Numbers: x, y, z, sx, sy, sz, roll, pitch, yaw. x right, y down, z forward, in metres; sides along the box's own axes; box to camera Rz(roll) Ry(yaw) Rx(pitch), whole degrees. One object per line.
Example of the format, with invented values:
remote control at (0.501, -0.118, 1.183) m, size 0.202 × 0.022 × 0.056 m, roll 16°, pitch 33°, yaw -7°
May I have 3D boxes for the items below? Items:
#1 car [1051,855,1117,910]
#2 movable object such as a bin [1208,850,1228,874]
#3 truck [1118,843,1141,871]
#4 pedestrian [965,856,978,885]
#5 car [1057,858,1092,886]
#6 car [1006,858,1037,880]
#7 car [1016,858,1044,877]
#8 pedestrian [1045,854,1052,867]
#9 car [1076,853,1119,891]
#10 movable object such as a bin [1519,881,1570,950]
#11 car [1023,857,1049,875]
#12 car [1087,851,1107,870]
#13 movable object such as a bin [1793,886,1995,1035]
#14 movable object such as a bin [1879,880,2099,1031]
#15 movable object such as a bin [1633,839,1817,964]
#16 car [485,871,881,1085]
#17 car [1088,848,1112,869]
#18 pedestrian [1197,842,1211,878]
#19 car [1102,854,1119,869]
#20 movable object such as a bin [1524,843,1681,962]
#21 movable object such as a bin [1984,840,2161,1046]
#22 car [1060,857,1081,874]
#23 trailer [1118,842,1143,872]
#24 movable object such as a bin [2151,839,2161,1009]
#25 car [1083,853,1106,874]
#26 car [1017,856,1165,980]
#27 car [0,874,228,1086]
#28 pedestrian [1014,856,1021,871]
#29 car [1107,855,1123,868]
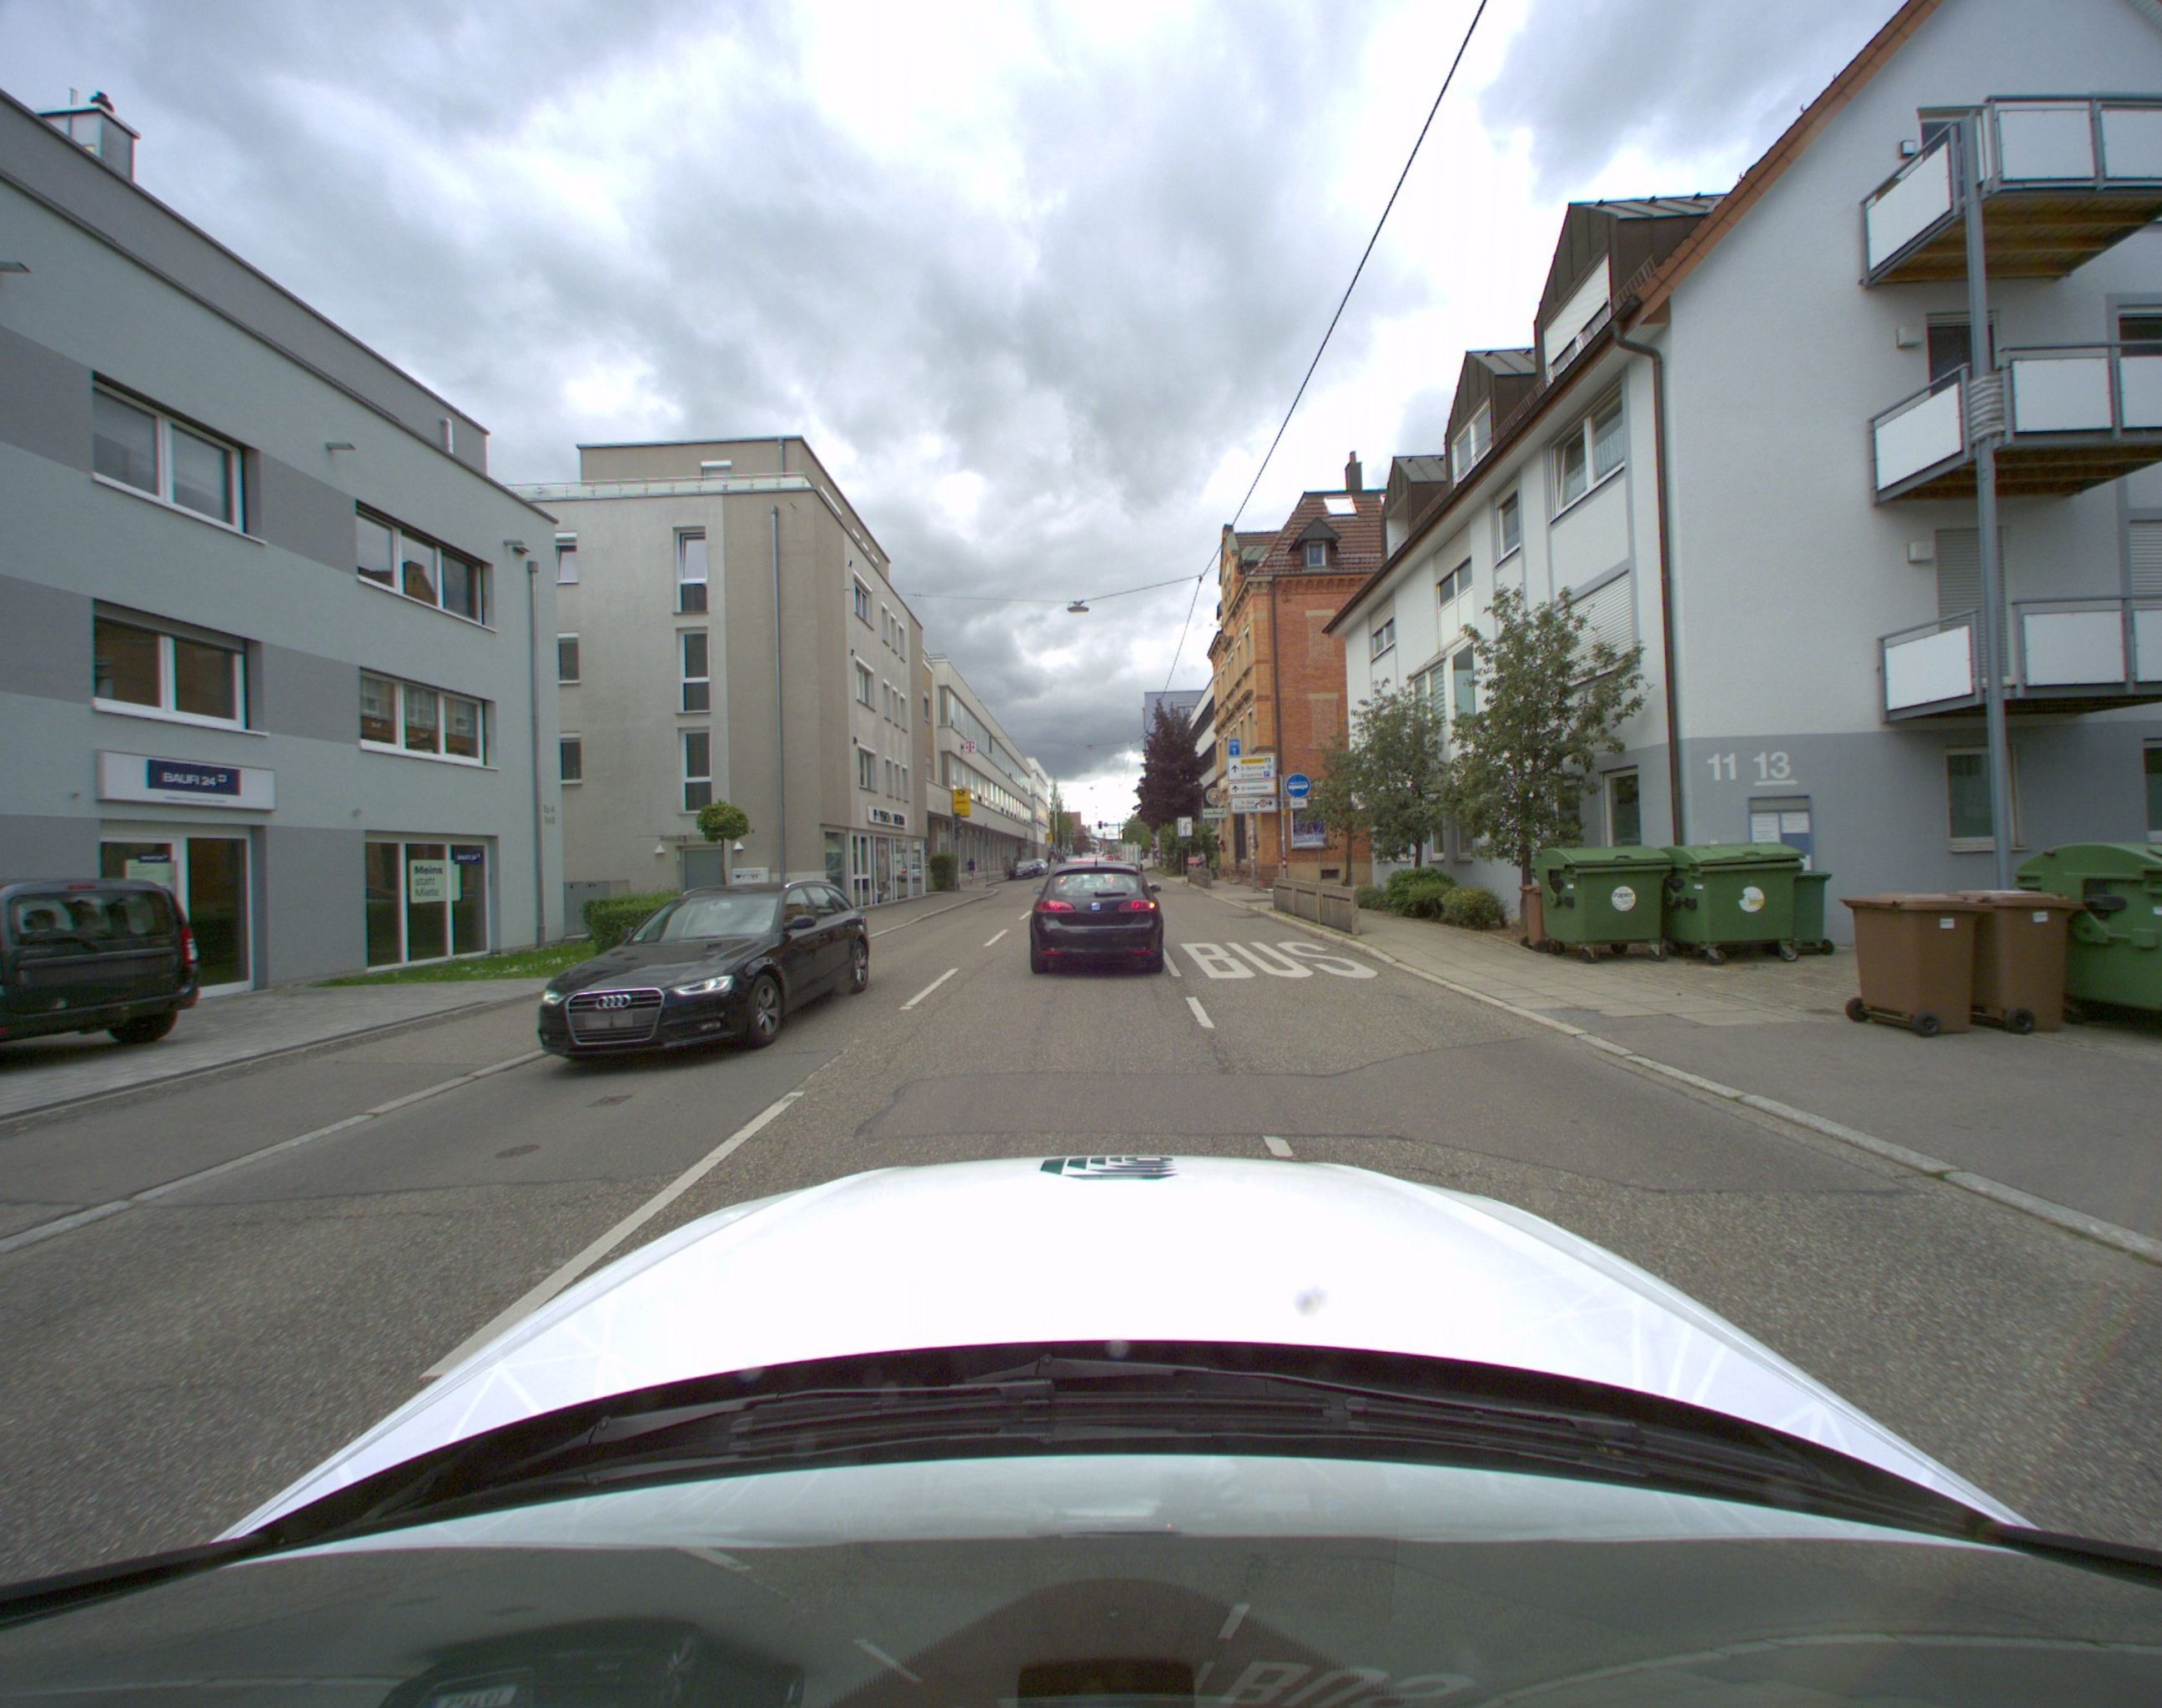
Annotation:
car at (0.134, 0.801, 24.632) m, size 1.797 × 1.492 × 3.738 m, roll -2°, pitch 0°, yaw 1°
movable object such as a bin at (8.882, 0.501, 52.819) m, size 0.940 × 1.470 × 1.445 m, roll -4°, pitch -1°, yaw -1°
truck at (4.559, 0.284, 77.564) m, size 1.986 × 2.607 × 3.261 m, roll -2°, pitch 0°, yaw 1°
pedestrian at (-6.713, 1.018, 50.129) m, size 0.640 × 1.769 × 0.809 m, roll -2°, pitch 0°, yaw 0°
car at (-0.319, 0.966, 44.563) m, size 1.774 × 1.365 × 4.412 m, roll -2°, pitch 0°, yaw 0°
car at (-4.608, 1.142, 63.426) m, size 1.906 × 1.517 × 4.175 m, roll -3°, pitch 0°, yaw 1°
car at (-4.288, 1.100, 69.132) m, size 1.986 × 1.517 × 4.175 m, roll -2°, pitch 0°, yaw 1°
pedestrian at (-4.460, 0.894, 112.762) m, size 0.915 × 1.869 × 0.783 m, roll -2°, pitch 0°, yaw 1°
car at (0.751, 0.777, 36.530) m, size 1.797 × 1.553 × 3.738 m, roll -2°, pitch 0°, yaw 1°
movable object such as a bin at (6.468, 0.846, 11.367) m, size 0.428 × 0.921 × 0.465 m, roll -2°, pitch 0°, yaw 2°
car at (-4.081, 1.091, 74.837) m, size 1.986 × 1.517 × 4.175 m, roll -2°, pitch 0°, yaw 1°
car at (1.444, 0.595, 73.403) m, size 1.797 × 1.601 × 3.738 m, roll -1°, pitch 0°, yaw 1°
movable object such as a bin at (6.550, 0.823, 6.627) m, size 0.680 × 1.067 × 0.973 m, roll -2°, pitch 0°, yaw 5°
movable object such as a bin at (7.275, 0.780, 6.585) m, size 0.694 × 1.079 × 0.973 m, roll -2°, pitch 0°, yaw 5°
movable object such as a bin at (8.038, 0.561, 10.258) m, size 1.262 × 1.435 × 1.308 m, roll -2°, pitch 0°, yaw 2°
car at (-3.647, 1.020, 8.498) m, size 1.872 × 1.451 × 4.215 m, roll -4°, pitch 0°, yaw 1°
car at (1.478, 0.320, 64.515) m, size 1.797 × 1.553 × 3.738 m, roll -2°, pitch 0°, yaw 1°
pedestrian at (7.087, 0.341, 46.952) m, size 0.691 × 2.013 × 0.676 m, roll -2°, pitch 0°, yaw 0°
car at (3.135, 0.797, 87.232) m, size 1.797 × 1.601 × 3.738 m, roll -1°, pitch 0°, yaw 1°
movable object such as a bin at (6.699, 0.599, 10.549) m, size 1.262 × 1.417 × 1.163 m, roll -2°, pitch 0°, yaw 2°
movable object such as a bin at (8.206, 0.614, 6.217) m, size 1.203 × 1.417 × 1.261 m, roll -2°, pitch 0°, yaw 5°
car at (-1.139, 1.267, 89.705) m, size 1.986 × 1.738 × 4.554 m, roll -3°, pitch 0°, yaw 1°
trailer at (4.503, 0.289, 74.766) m, size 1.986 × 2.607 × 5.350 m, roll -2°, pitch 0°, yaw 1°
movable object such as a bin at (9.562, 0.571, 6.171) m, size 1.203 × 1.417 × 1.261 m, roll -2°, pitch 0°, yaw 5°
car at (1.067, 0.741, 64.837) m, size 1.797 × 1.601 × 3.738 m, roll -1°, pitch 0°, yaw 1°
car at (0.182, 0.788, 11.836) m, size 1.759 × 1.433 × 3.830 m, roll -2°, pitch 0°, yaw 2°
car at (-10.656, 1.106, 7.407) m, size 4.143 × 1.667 × 1.727 m, roll -2°, pitch -1°, yaw 5°
pedestrian at (-6.875, 0.989, 88.171) m, size 0.653 × 1.623 × 0.681 m, roll -2°, pitch 0°, yaw 2°
car at (4.122, 0.887, 99.841) m, size 1.797 × 1.601 × 3.738 m, roll -1°, pitch 0°, yaw 1°
